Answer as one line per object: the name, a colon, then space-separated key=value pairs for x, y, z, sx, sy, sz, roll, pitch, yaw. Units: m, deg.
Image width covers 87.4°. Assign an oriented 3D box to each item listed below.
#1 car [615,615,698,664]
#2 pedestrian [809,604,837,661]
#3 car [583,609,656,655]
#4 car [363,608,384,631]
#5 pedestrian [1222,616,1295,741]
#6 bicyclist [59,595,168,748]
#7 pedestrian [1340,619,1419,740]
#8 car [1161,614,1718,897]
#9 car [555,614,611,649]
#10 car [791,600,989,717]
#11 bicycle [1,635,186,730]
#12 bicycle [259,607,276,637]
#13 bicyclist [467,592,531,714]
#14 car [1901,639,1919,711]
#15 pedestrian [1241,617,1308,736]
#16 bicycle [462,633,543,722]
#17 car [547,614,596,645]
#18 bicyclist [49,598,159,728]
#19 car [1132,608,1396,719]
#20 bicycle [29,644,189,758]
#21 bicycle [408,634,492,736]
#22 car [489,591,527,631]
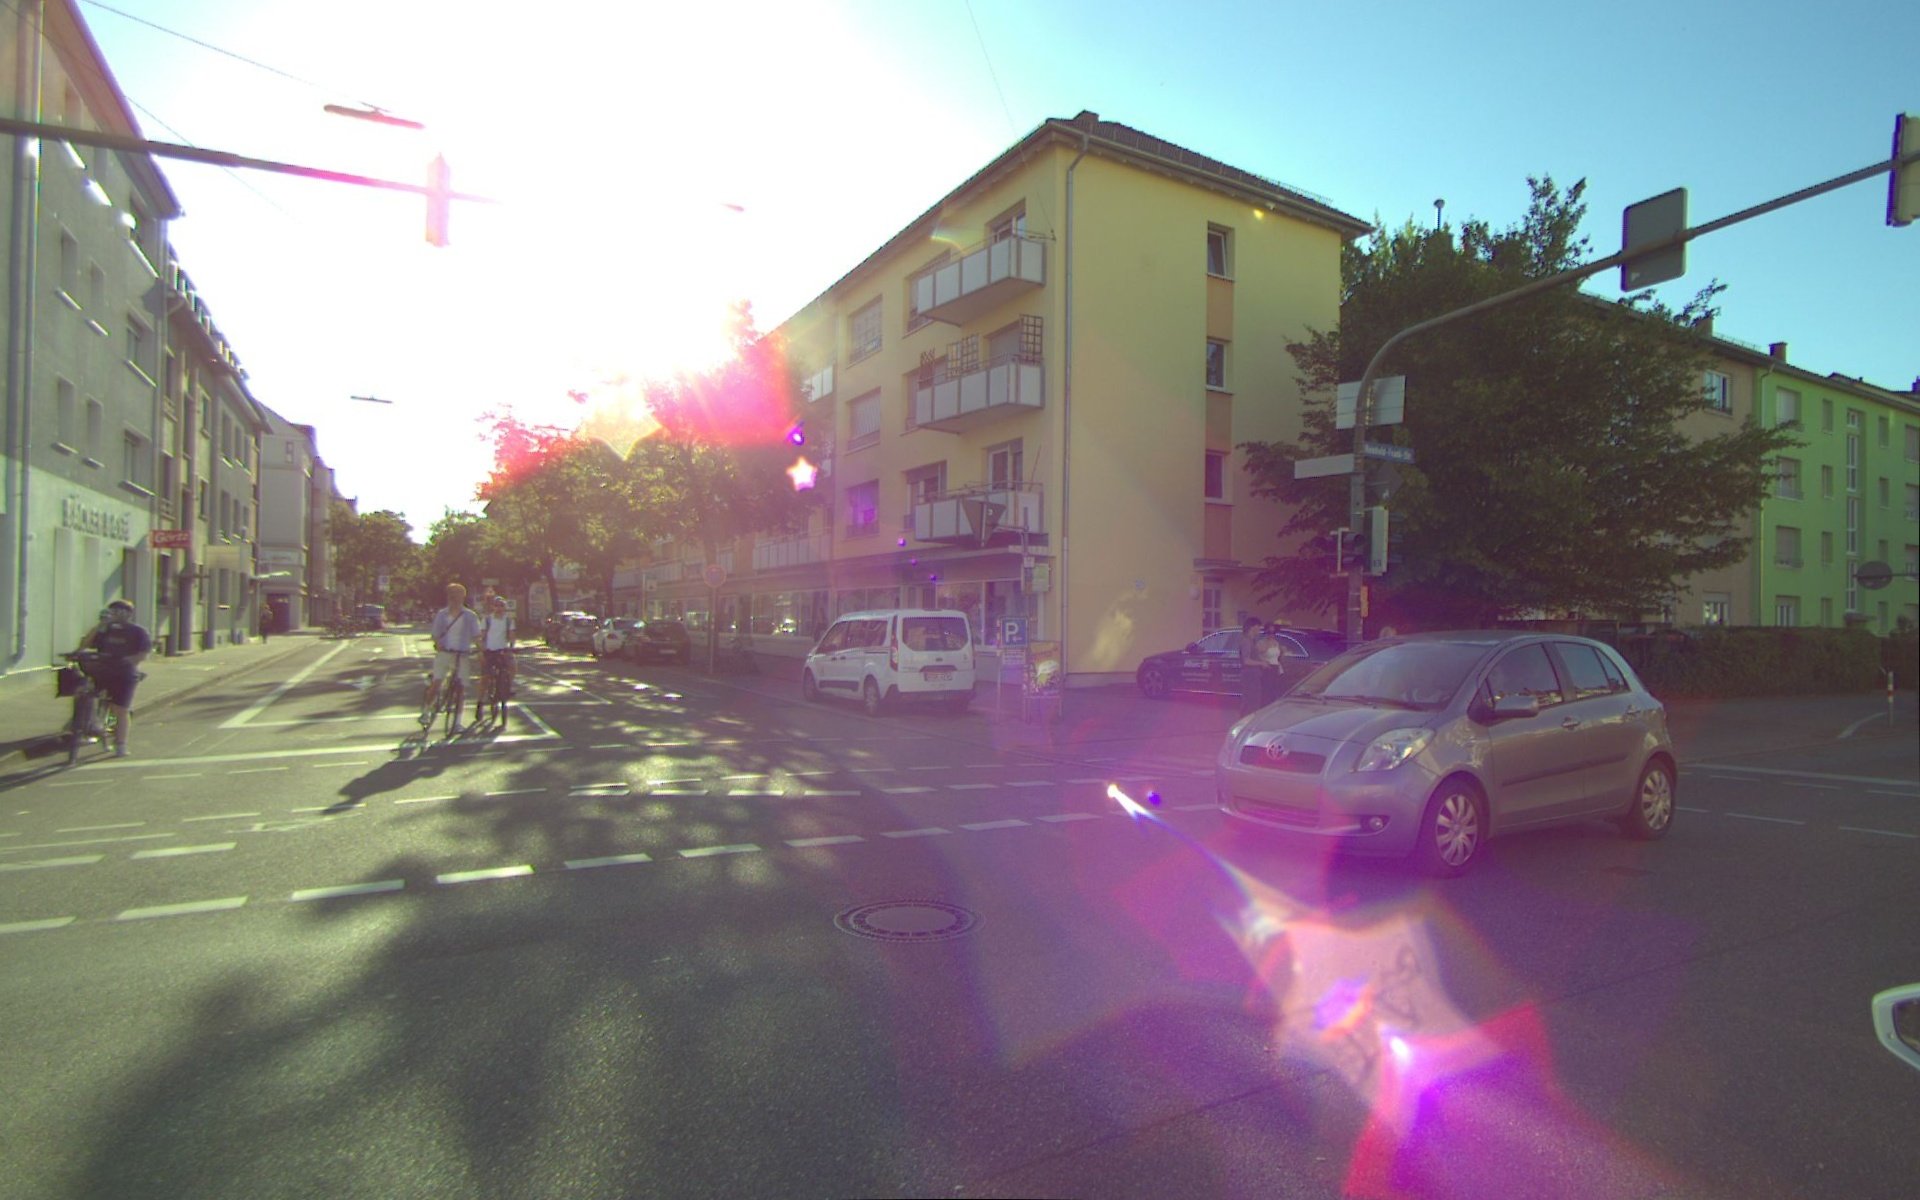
car: x=-10.147 y=1.284 z=33.437 sx=1.841 sy=1.483 sz=3.970 roll=2 pitch=-1 yaw=-29
pedestrian: x=-4.266 y=1.002 z=31.234 sx=0.640 sy=1.743 sz=0.573 roll=2 pitch=-1 yaw=-31
car: x=-12.957 y=1.190 z=38.089 sx=1.821 sy=1.635 sz=4.375 roll=2 pitch=-1 yaw=-29
car: x=-48.234 y=1.597 z=82.591 sx=1.377 sy=1.764 sz=2.796 roll=2 pitch=-1 yaw=-31
pedestrian: x=4.180 y=1.080 z=14.068 sx=0.603 sy=1.679 sz=0.742 roll=2 pitch=-1 yaw=-37
bicyclist: x=-9.566 y=0.785 z=11.382 sx=0.738 sy=1.675 sz=0.670 roll=0 pitch=0 yaw=-20
pedestrian: x=5.913 y=1.114 z=14.171 sx=0.742 sy=1.615 sz=0.603 roll=3 pitch=2 yaw=-33
car: x=3.590 y=0.943 z=7.392 sx=3.953 sy=1.578 sz=1.796 roll=2 pitch=-2 yaw=-30
car: x=-17.248 y=1.419 z=45.846 sx=1.841 sy=1.483 sz=3.970 roll=2 pitch=-1 yaw=-29
car: x=-1.428 y=0.981 z=18.499 sx=1.885 sy=1.872 sz=4.451 roll=2 pitch=-1 yaw=-30
bicycle: x=-11.227 y=1.032 z=13.141 sx=0.715 sy=1.103 sz=2.268 roll=3 pitch=-3 yaw=-10
bicycle: x=-30.858 y=0.975 z=44.776 sx=0.591 sy=1.317 sz=0.427 roll=2 pitch=2 yaw=-32
bicyclist: x=-6.805 y=0.767 z=14.823 sx=0.743 sy=1.744 sz=0.602 roll=0 pitch=0 yaw=-36
car: x=21.941 y=1.621 z=21.420 sx=3.895 sy=1.499 sz=1.646 roll=2 pitch=-1 yaw=-29
pedestrian: x=4.640 y=1.110 z=14.862 sx=0.735 sy=1.651 sz=0.609 roll=4 pitch=2 yaw=7
bicycle: x=-6.713 y=1.089 z=14.686 sx=0.721 sy=1.172 sz=1.979 roll=1 pitch=0 yaw=-35
car: x=-19.935 y=1.488 z=51.469 sx=1.841 sy=1.483 sz=3.970 roll=2 pitch=-1 yaw=-29
bicyclist: x=-11.224 y=0.824 z=13.199 sx=0.737 sy=1.615 sz=0.688 roll=3 pitch=-3 yaw=-11
car: x=5.415 y=1.063 z=18.511 sx=1.823 sy=1.635 sz=4.565 roll=2 pitch=0 yaw=-32
bicycle: x=-9.581 y=1.087 z=11.409 sx=0.717 sy=1.104 sz=1.990 roll=0 pitch=-1 yaw=-20
bicycle: x=-6.757 y=1.068 z=13.258 sx=0.721 sy=1.182 sz=1.979 roll=0 pitch=0 yaw=-35
car: x=-28.139 y=0.702 z=62.462 sx=1.841 sy=2.390 sz=3.970 roll=2 pitch=-1 yaw=-29
